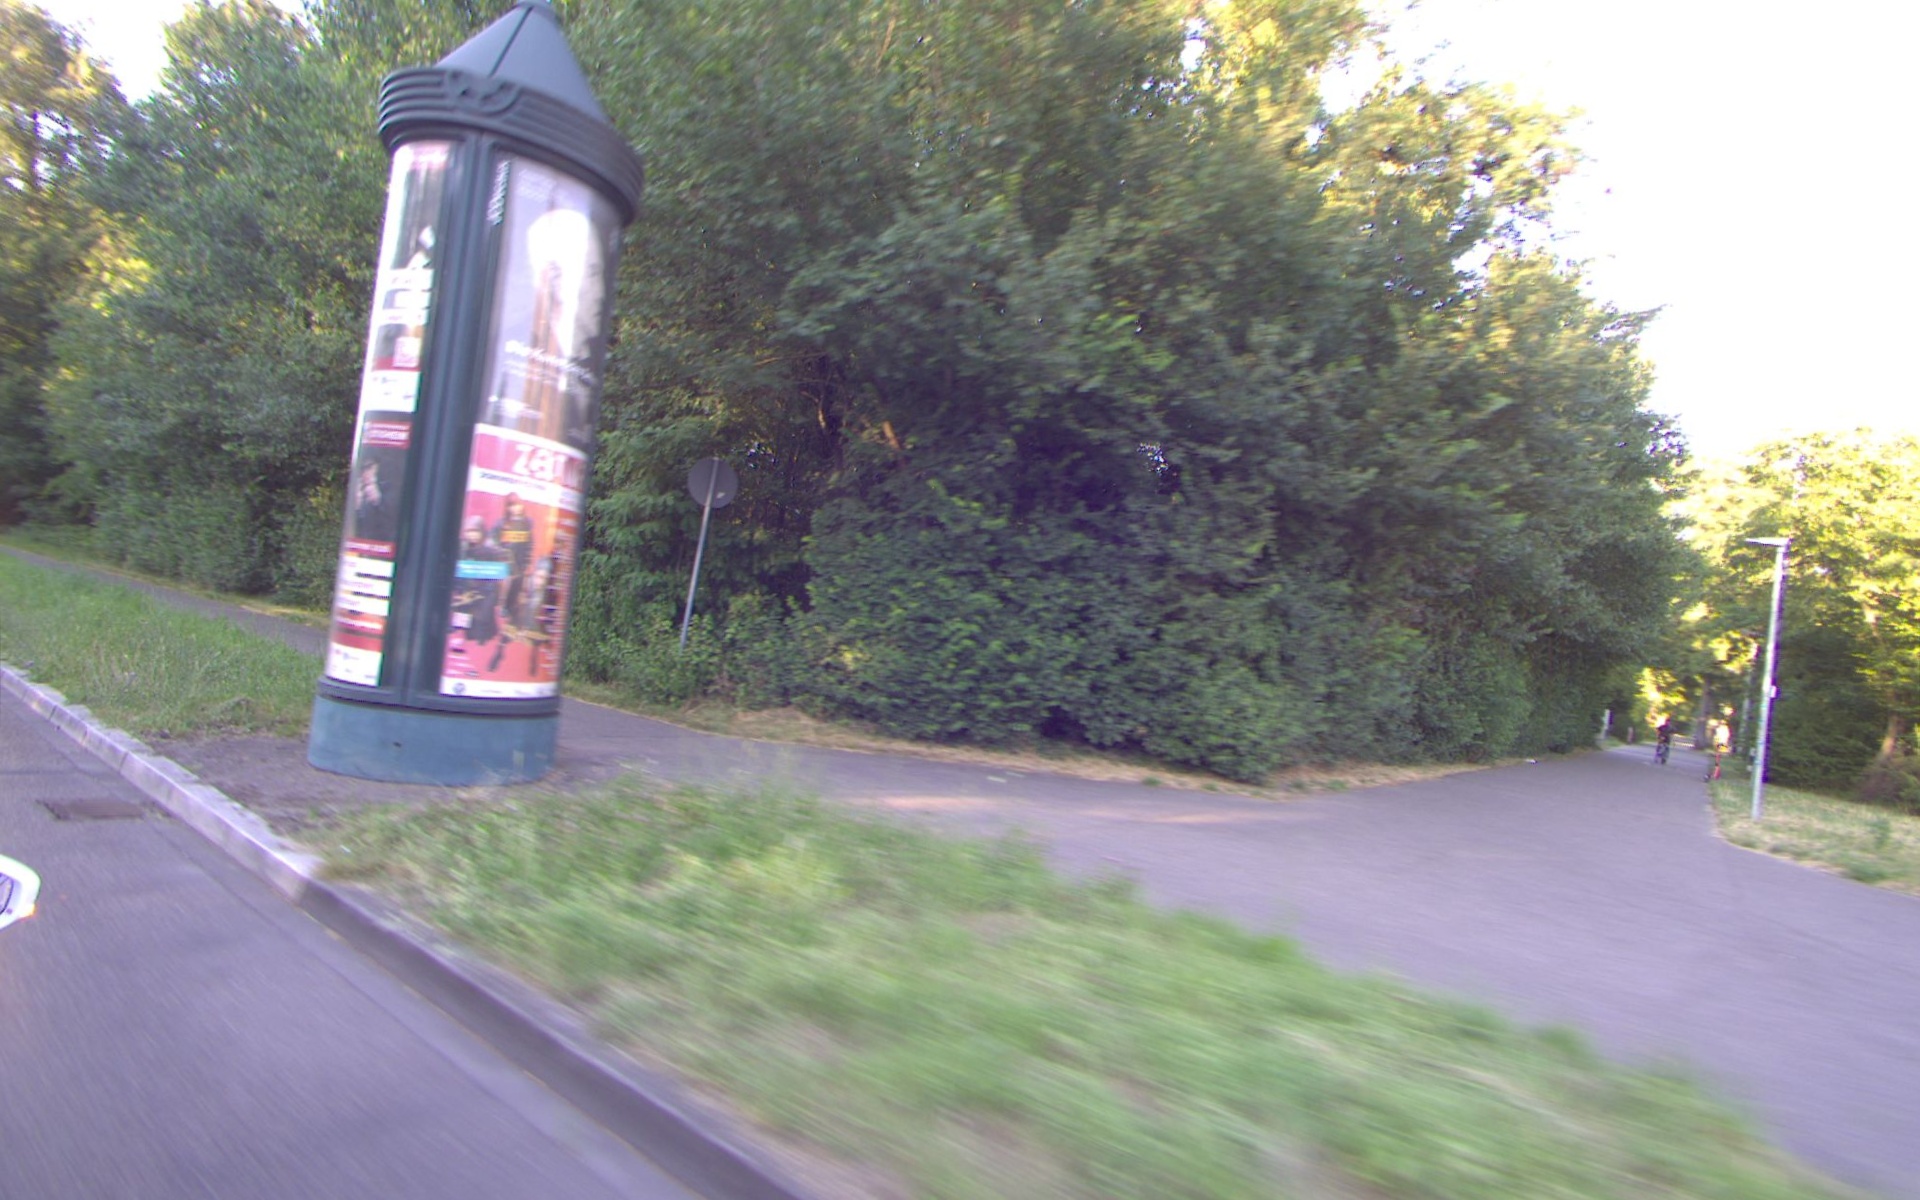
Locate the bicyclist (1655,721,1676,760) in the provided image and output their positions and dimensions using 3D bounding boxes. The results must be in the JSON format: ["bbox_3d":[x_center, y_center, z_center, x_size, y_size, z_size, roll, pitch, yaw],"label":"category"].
[{"bbox_3d":[27.480,5.459,39.191,0.488,1.434,0.567,7,-1,33],"label":"bicyclist"}]

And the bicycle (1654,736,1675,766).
[{"bbox_3d":[27.424,5.871,39.186,0.494,1.026,1.525,7,-2,33],"label":"bicycle"}]

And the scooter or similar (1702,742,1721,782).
[{"bbox_3d":[21.998,4.745,29.439,0.830,1.098,0.192,9,-3,-39],"label":"scooter or similar"}]
